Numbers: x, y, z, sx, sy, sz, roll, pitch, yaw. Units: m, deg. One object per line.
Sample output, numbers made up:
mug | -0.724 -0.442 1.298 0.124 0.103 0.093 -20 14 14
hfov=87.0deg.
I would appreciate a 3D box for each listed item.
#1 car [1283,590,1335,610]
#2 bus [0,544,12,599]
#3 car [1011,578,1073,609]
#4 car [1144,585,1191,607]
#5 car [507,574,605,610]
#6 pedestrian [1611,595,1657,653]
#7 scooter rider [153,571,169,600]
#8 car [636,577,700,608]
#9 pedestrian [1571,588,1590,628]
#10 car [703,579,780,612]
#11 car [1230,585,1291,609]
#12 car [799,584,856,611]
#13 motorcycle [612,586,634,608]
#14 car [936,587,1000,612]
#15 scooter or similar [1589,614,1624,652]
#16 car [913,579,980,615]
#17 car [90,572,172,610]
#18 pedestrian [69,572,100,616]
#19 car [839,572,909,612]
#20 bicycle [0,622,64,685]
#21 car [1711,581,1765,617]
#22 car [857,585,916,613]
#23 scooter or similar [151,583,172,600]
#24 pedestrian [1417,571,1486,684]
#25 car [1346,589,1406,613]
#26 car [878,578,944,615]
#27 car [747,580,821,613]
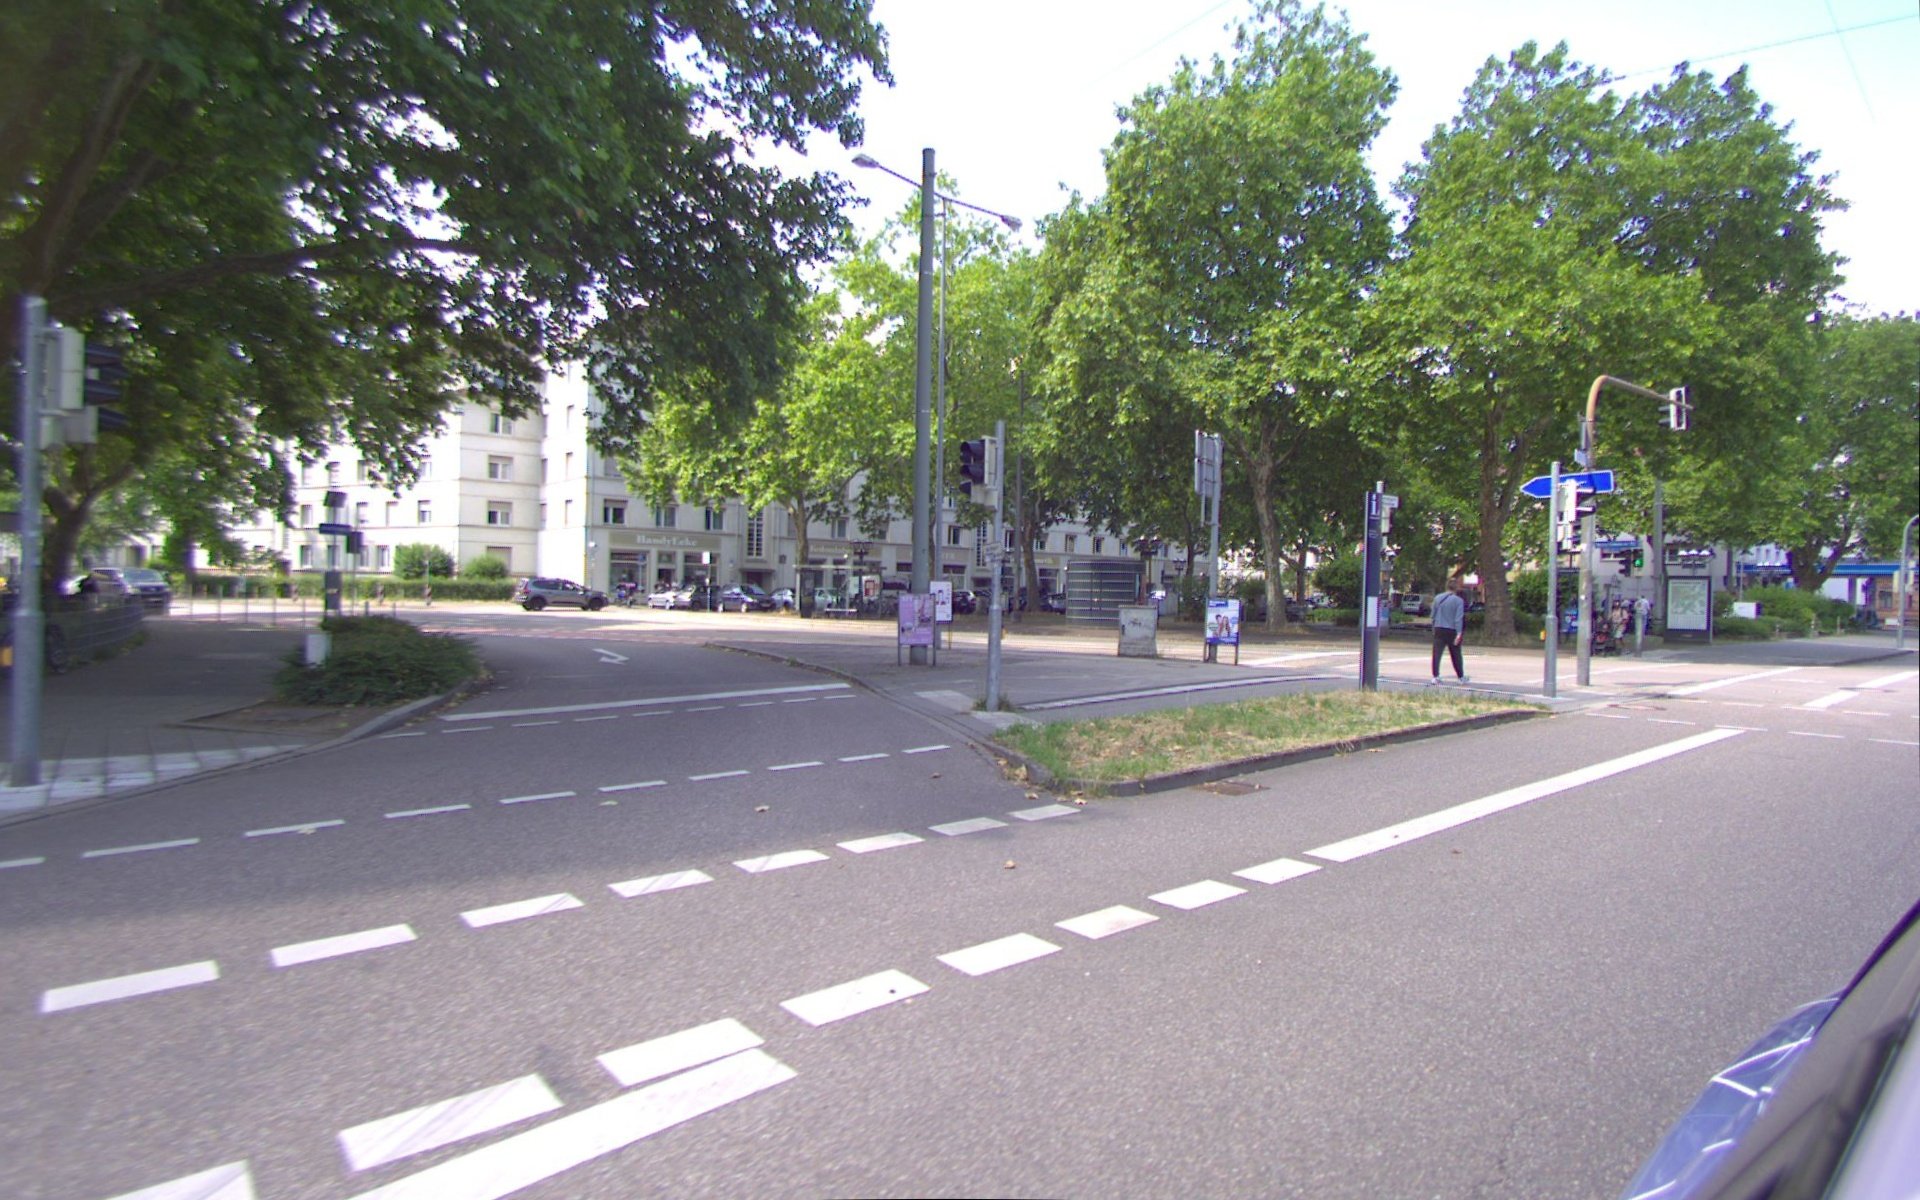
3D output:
car | 30.583 0.017 88.796 1.721 1.682 3.998 1 1 -38
bus | -50.918 -1.472 51.051 6.303 2.743 2.382 1 1 25
car | 5.548 -0.439 68.719 1.964 2.039 3.997 1 1 -38
car | 19.135 -0.372 93.453 1.963 1.989 3.998 1 1 -38
car | -20.211 -0.385 50.691 4.236 1.682 1.792 1 1 -37
pedestrian | 19.760 0.686 29.673 0.905 1.666 0.570 1 0 1
scooter rider | -51.154 -0.901 64.786 0.642 1.834 0.523 2 0 26
car | -17.923 -0.469 62.050 1.879 1.818 4.712 0 1 -42
pedestrian | 27.947 0.365 45.600 0.600 1.772 0.692 2 0 26
car | -11.501 -0.278 53.146 1.999 1.620 4.531 0 1 -41
car | 24.847 -0.248 83.747 2.065 1.929 4.488 0 1 -38
car | -7.339 -0.132 55.923 3.225 1.406 1.447 2 1 44
motorcycle | -19.990 -0.166 60.002 0.562 1.259 1.882 1 1 -42
car | 0.472 -0.054 63.282 1.964 1.440 3.996 1 1 -39
scooter or similar | 18.957 0.965 29.690 0.695 1.069 0.491 1 0 1
car | -0.848 -0.212 61.293 1.964 2.102 3.996 1 0 -39
car | -40.004 -0.459 48.828 3.717 1.682 1.849 2 1 29
pedestrian | -30.818 -0.212 35.627 0.571 1.498 0.663 1 0 34
car | -4.977 -0.481 58.158 1.964 2.210 4.253 1 0 -39
bicycle | -13.158 0.743 14.349 0.291 0.806 1.215 1 1 -23
car | 54.257 -0.088 70.589 3.928 2.450 2.111 0 1 -39
car | -3.907 -0.061 53.606 3.055 1.406 1.448 2 0 42
scooter or similar | -51.084 -0.544 64.750 1.278 1.105 0.546 2 1 26
pedestrian | 8.133 0.433 16.748 0.871 1.805 0.694 1 0 -38
car | 32.773 0.049 79.772 1.835 1.822 3.998 1 1 -38
car | -2.935 -0.227 59.997 1.964 2.102 3.996 1 0 -39
car | -9.710 -0.225 55.621 1.878 1.711 4.531 0 1 -41
